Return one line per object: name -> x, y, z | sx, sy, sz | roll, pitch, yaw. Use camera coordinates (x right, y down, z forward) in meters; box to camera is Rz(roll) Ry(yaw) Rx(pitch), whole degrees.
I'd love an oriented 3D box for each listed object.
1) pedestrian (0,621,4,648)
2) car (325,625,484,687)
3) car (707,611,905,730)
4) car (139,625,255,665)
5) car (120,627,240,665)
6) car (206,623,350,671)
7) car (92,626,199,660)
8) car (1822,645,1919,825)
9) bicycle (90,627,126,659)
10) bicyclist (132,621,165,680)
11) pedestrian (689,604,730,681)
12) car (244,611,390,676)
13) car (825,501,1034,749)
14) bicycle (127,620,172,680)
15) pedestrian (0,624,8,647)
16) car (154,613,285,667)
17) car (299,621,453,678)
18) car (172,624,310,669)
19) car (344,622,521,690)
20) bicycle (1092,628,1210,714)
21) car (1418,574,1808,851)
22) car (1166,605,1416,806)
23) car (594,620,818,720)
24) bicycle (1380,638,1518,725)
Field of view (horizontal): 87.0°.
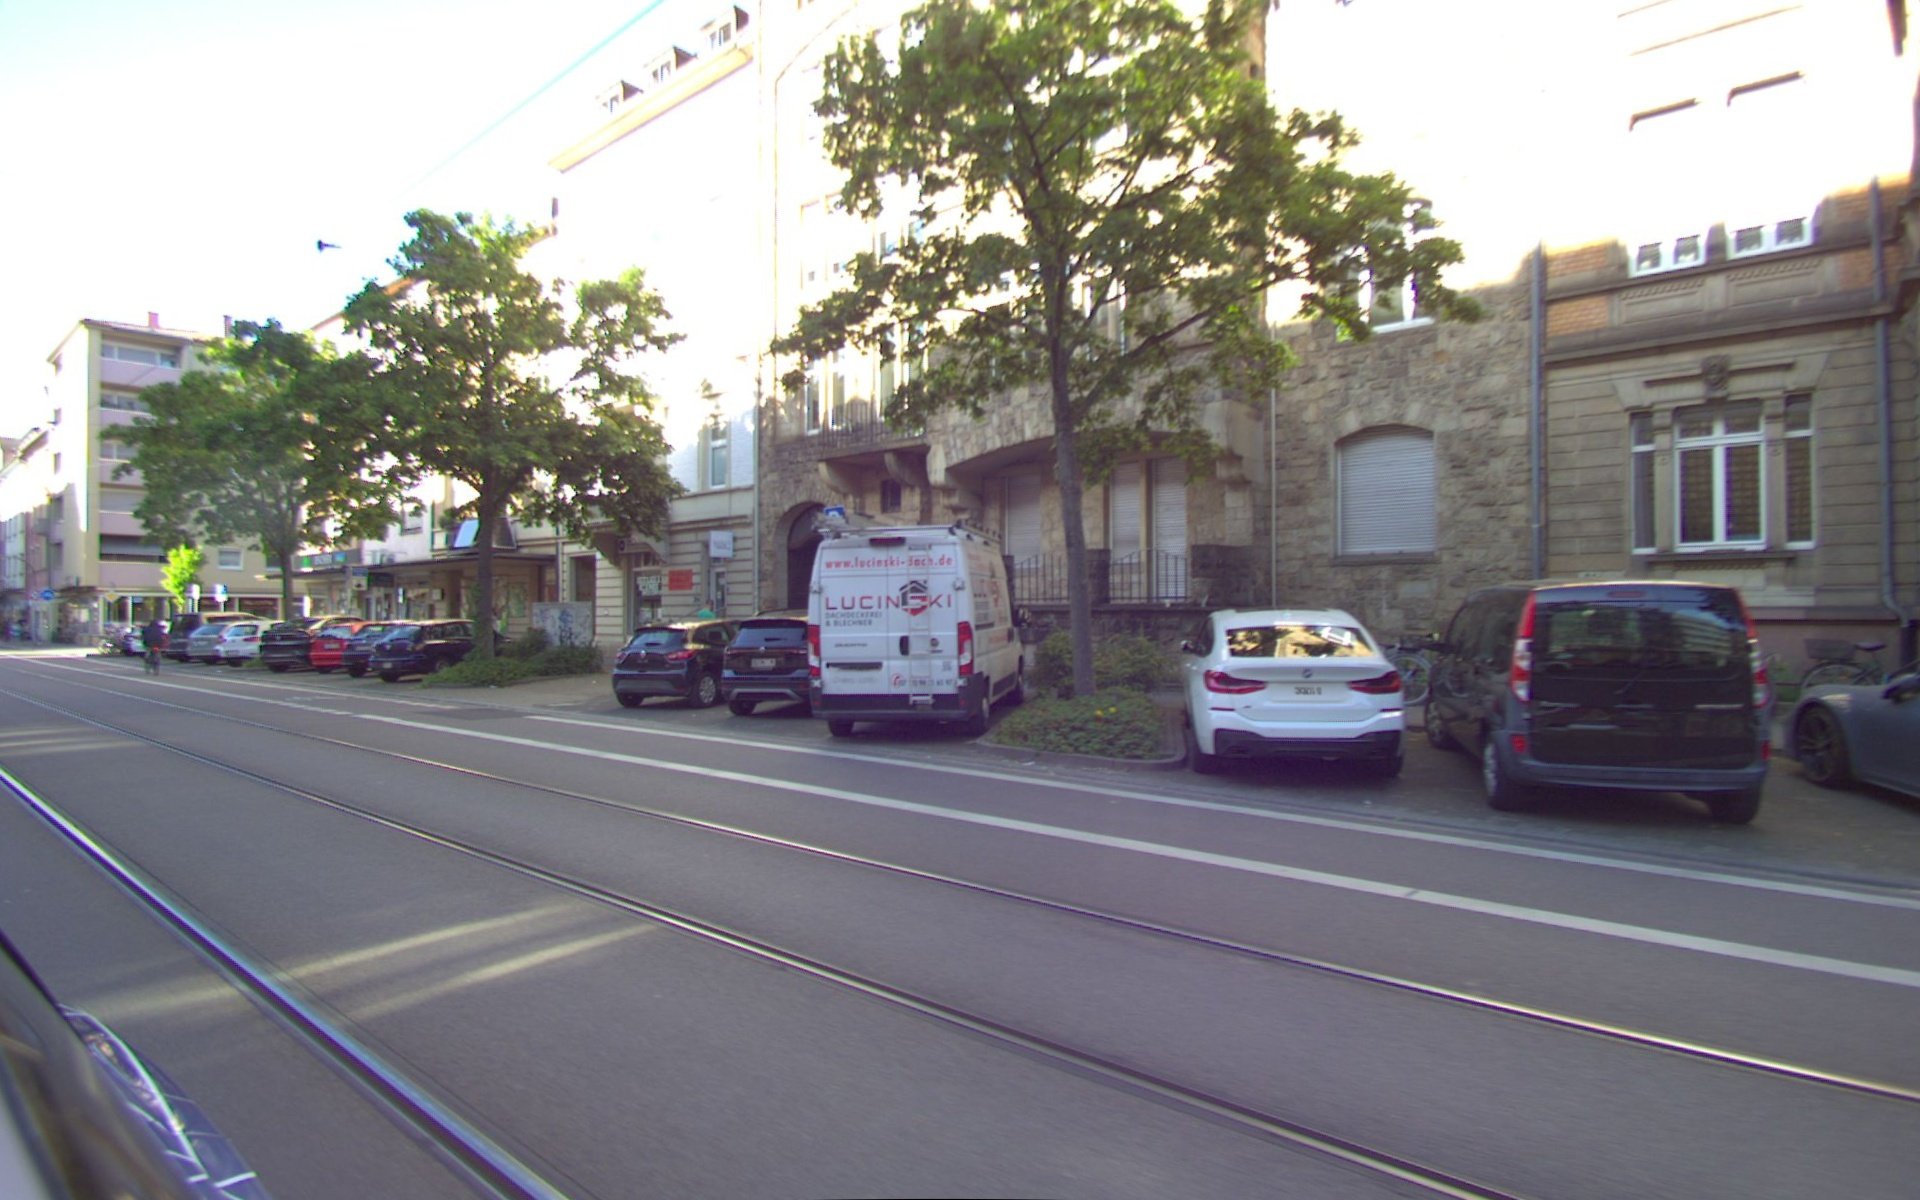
pedestrian -> -62.873, 2.251, 66.083 | 0.616, 1.698, 0.557 | -1, -1, 40
car -> -15.029, 1.466, 27.639 | 1.785, 1.500, 3.990 | -1, 0, 8
car -> -2.315, 1.010, 16.259 | 1.697, 1.630, 3.980 | -1, -1, 15
car -> -30.124, 1.761, 40.086 | 1.631, 1.484, 3.458 | -1, -2, 12
car -> -31.968, 1.846, 41.609 | 1.734, 1.410, 3.782 | -1, 0, 8
car -> -22.817, 1.539, 34.022 | 1.749, 1.440, 3.826 | -1, -1, 15
car -> -34.948, 1.829, 43.513 | 1.605, 1.348, 3.464 | -1, 0, 7
car -> 7.608, 1.004, 6.610 | 1.502, 1.274, 3.791 | -1, -1, 15
bicycle -> -36.944, 1.878, 43.894 | 2.431, 1.330, 0.675 | -4, -3, 37
bicyclist -> -23.866, 1.477, 29.764 | 0.726, 1.694, 0.627 | -1, -1, 41
pedestrian -> -5.739, 0.964, 23.189 | 0.761, 1.739, 0.572 | -1, -1, 40
car -> -19.414, 1.245, 30.800 | 1.966, 1.796, 4.371 | 0, -1, -5
car -> -0.174, 0.300, 14.110 | 1.787, 2.770, 5.369 | -1, -1, 11
bicycle -> -23.885, 1.435, 29.811 | 2.096, 1.691, 0.673 | -1, -1, 41
pedestrian -> -65.526, 2.454, 69.121 | 0.623, 1.560, 0.629 | -1, -1, 40
car -> -27.706, 1.441, 38.020 | 1.777, 1.798, 3.811 | -1, 1, 10
car -> -16.990, 1.385, 29.683 | 1.846, 1.500, 3.990 | -1, 0, 8
car -> -25.624, 1.623, 36.220 | 1.681, 1.460, 4.005 | -1, -1, 11
car -> -13.014, 1.330, 25.260 | 1.788, 1.500, 3.983 | -1, -1, 13
bicycle -> 2.711, 0.990, 14.488 | 1.696, 1.145, 0.383 | -1, -1, 41
car -> 5.294, 0.764, 8.854 | 1.697, 1.830, 3.980 | -1, -1, 15
car -> 3.196, 0.883, 10.720 | 1.693, 1.630, 4.759 | -1, 0, 8
car -> -4.338, 1.133, 17.933 | 1.795, 1.500, 3.967 | -1, -1, 24
bicycle -> 6.698, 1.112, 13.885 | 1.673, 1.145, 0.388 | 0, -1, 1
